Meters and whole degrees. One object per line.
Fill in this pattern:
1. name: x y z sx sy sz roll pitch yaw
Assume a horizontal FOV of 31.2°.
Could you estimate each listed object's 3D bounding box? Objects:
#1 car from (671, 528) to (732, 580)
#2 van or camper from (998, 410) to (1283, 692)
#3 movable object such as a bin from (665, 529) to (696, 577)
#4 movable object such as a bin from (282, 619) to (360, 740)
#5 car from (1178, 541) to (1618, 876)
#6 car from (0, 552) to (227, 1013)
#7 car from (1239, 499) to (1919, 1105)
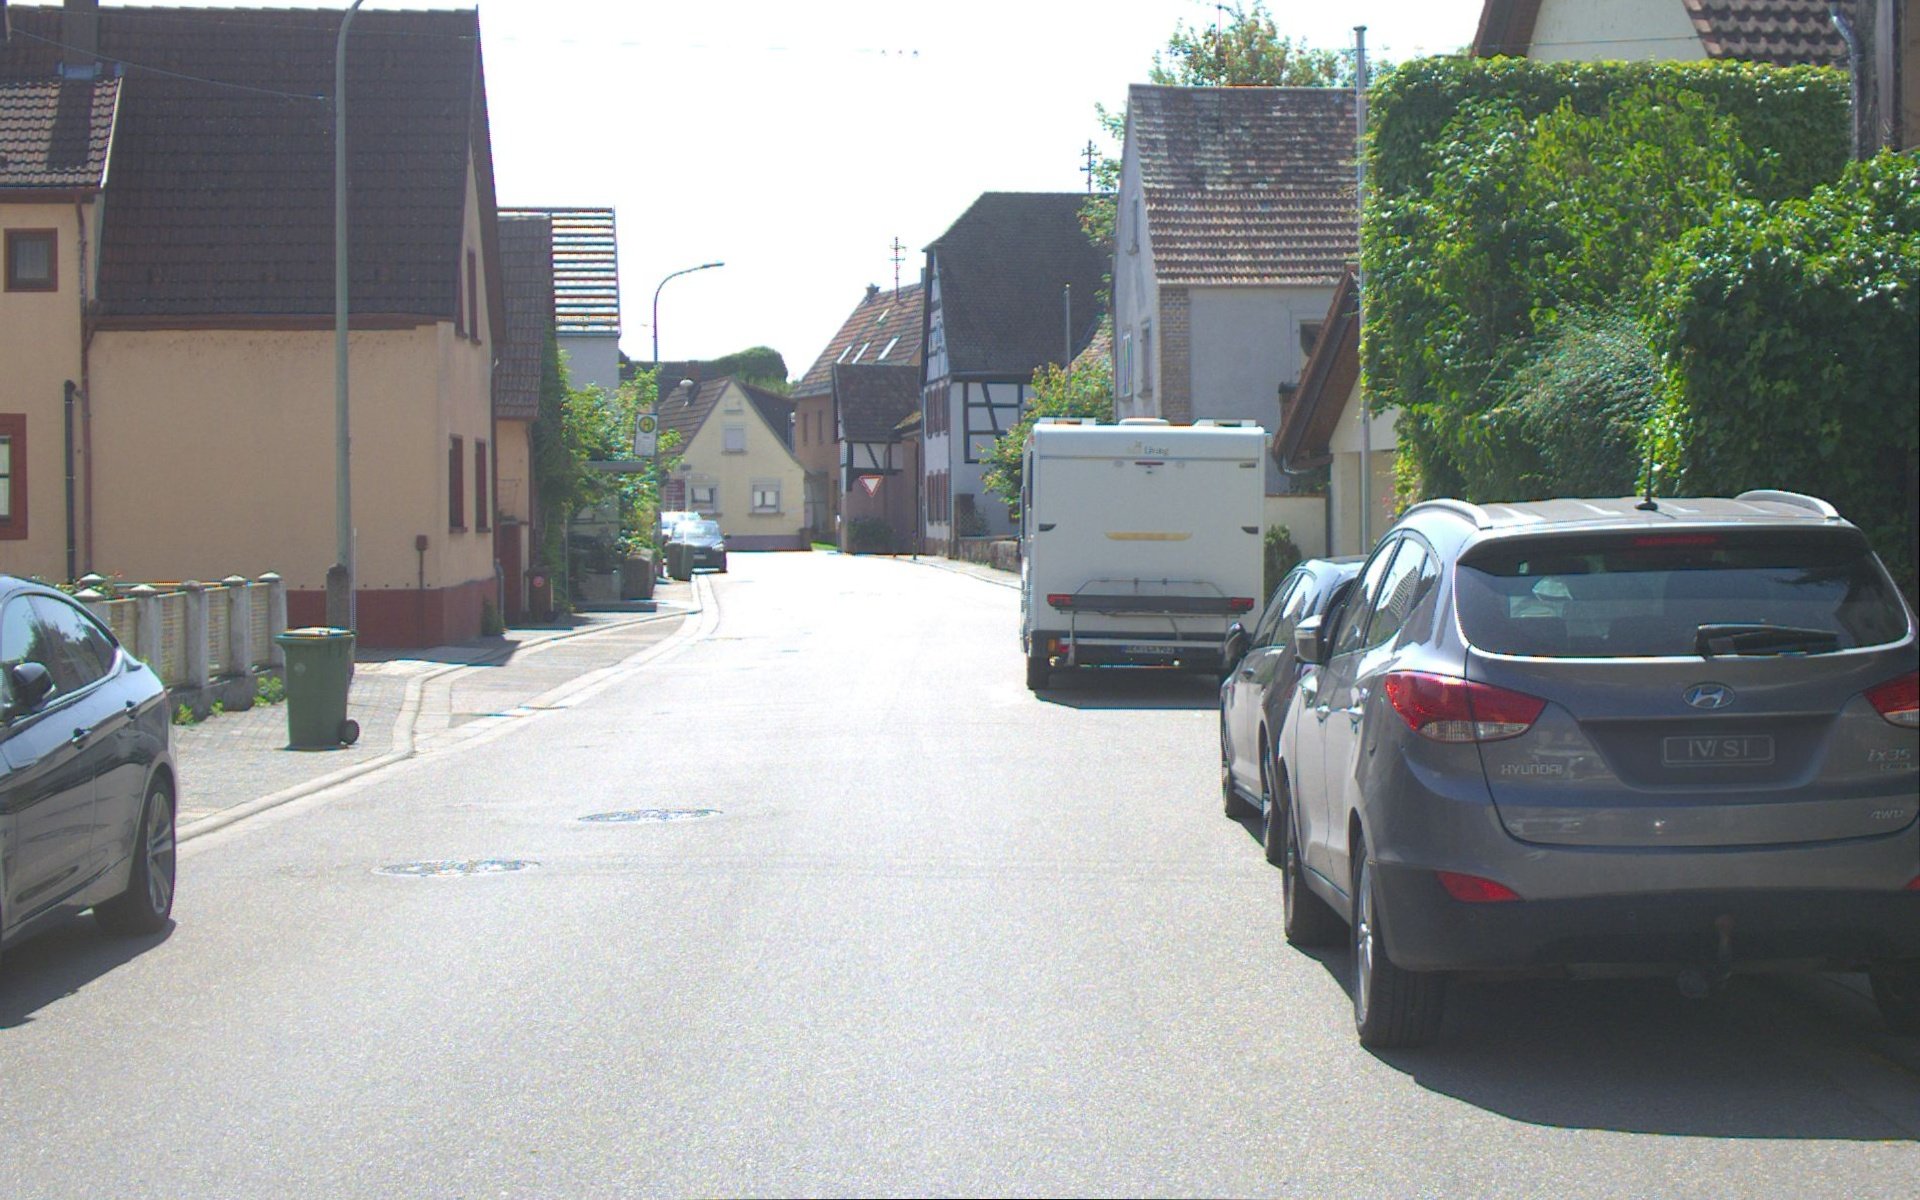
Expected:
1. car: -7.465 -1.343 99.428 1.511 1.431 3.512 -2 1 -1
2. van or camper: 1.763 -0.516 35.349 2.521 2.687 4.556 -1 1 -2
3. movable object such as a bin: -7.012 -1.184 86.194 0.688 1.181 0.714 -2 1 -1
4. movable object such as a bin: -5.140 0.633 27.672 0.539 0.946 0.553 0 1 -1
5. car: 2.114 0.459 17.606 1.712 1.459 4.065 -1 1 0
6. car: -4.145 0.605 12.744 1.844 1.521 4.765 -1 1 0
7. car: 2.011 0.490 11.537 1.794 1.625 4.361 -1 2 0
